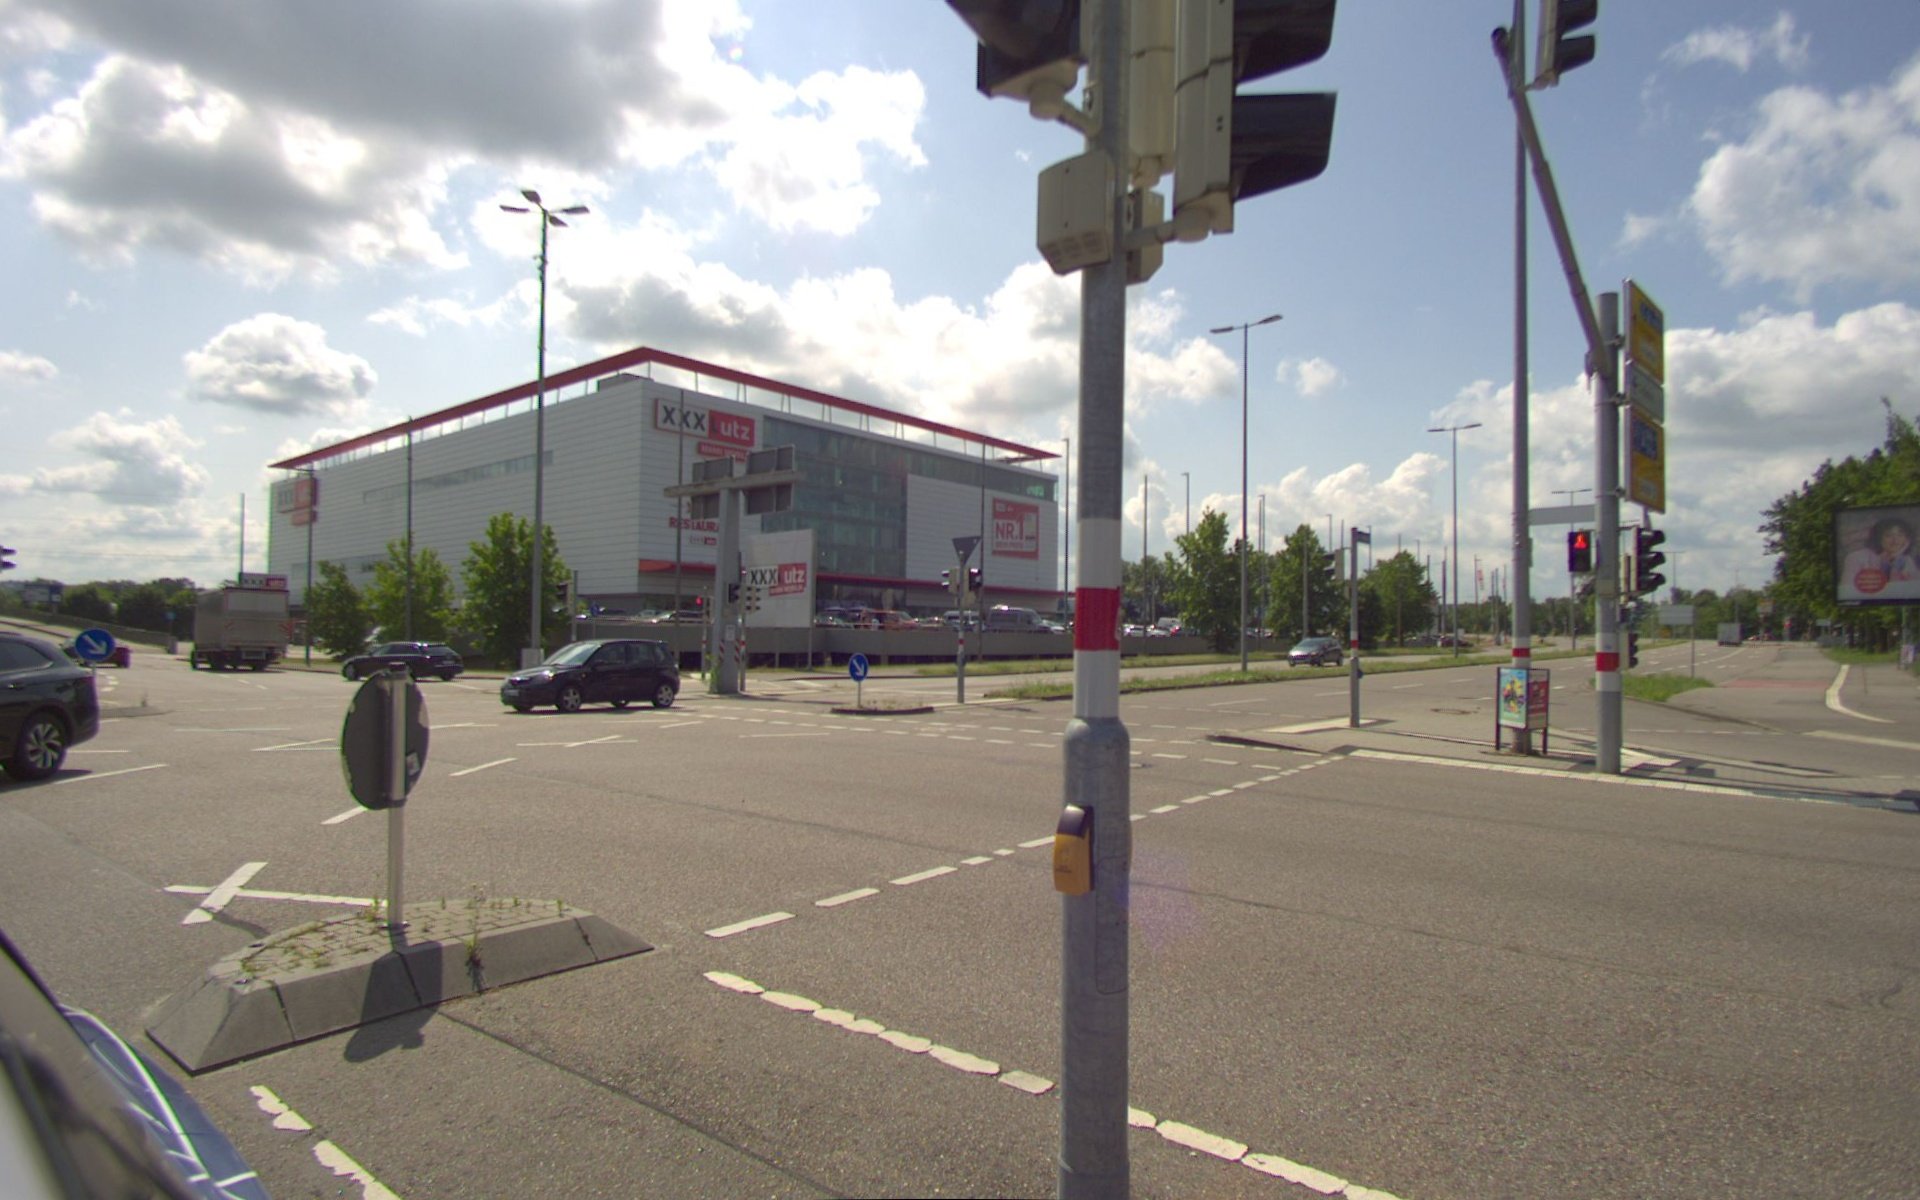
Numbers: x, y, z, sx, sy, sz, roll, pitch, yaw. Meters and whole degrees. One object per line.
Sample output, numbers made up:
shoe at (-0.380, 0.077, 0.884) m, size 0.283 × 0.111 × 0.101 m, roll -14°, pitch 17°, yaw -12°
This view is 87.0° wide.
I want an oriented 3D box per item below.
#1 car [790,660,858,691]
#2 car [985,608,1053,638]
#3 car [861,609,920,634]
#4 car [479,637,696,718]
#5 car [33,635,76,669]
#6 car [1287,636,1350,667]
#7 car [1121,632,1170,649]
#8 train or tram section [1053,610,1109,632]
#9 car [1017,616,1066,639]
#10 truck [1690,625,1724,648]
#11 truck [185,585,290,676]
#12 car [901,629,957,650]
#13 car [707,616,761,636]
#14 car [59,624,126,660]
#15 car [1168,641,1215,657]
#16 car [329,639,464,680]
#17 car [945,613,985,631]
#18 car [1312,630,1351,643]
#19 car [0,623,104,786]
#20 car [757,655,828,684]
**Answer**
car at (-8.440, 4.675, 63.014) m, size 1.998 × 1.763 × 3.948 m, roll -3°, pitch -3°, yaw 39°
car at (4.959, 1.954, 85.408) m, size 5.793 × 2.301 × 1.726 m, roll -3°, pitch -3°, yaw 40°
car at (-5.377, 1.697, 78.338) m, size 4.170 × 1.763 × 1.898 m, roll -3°, pitch -3°, yaw 29°
car at (-7.809, 1.564, 21.588) m, size 1.603 × 1.542 × 4.220 m, roll -2°, pitch -2°, yaw 34°
car at (-54.033, 3.113, 60.454) m, size 1.836 × 1.668 × 4.224 m, roll 2°, pitch -8°, yaw -41°
car at (18.583, 2.627, 52.384) m, size 1.607 × 1.542 × 4.210 m, roll -2°, pitch -3°, yaw 41°
car at (18.329, 4.021, 99.957) m, size 4.422 × 1.618 × 1.928 m, roll -3°, pitch -3°, yaw 42°
train or tram section at (27.756, 4.771, 232.827) m, size 13.097 × 4.596 × 3.682 m, roll -4°, pitch -3°, yaw 41°
car at (7.019, 2.398, 87.478) m, size 4.000 × 1.807 × 1.724 m, roll -4°, pitch -3°, yaw 44°
truck at (92.275, 4.488, 124.998) m, size 2.972 × 2.773 × 5.707 m, roll -3°, pitch -3°, yaw 40°
truck at (-35.645, 1.579, 49.742) m, size 3.173 × 4.058 × 9.080 m, roll 1°, pitch -3°, yaw -42°
car at (-2.562, 3.259, 82.952) m, size 4.422 × 1.618 × 1.928 m, roll -3°, pitch -3°, yaw 42°
car at (-17.924, 2.109, 80.192) m, size 4.419 × 1.482 × 1.929 m, roll -3°, pitch -3°, yaw 40°
car at (-42.747, 2.073, 49.839) m, size 4.215 × 1.668 × 1.840 m, roll -3°, pitch -3°, yaw 40°
car at (24.436, 5.200, 106.850) m, size 4.422 × 1.618 × 1.928 m, roll -3°, pitch -3°, yaw 42°
car at (-20.975, 2.209, 37.673) m, size 4.642 × 1.489 × 1.768 m, roll -1°, pitch -3°, yaw 19°
car at (0.488, 2.319, 107.366) m, size 3.998 × 1.763 × 1.890 m, roll -4°, pitch -3°, yaw 42°
car at (49.256, 4.842, 134.340) m, size 4.422 × 1.618 × 1.928 m, roll -3°, pitch -3°, yaw 42°
car at (-9.512, 0.908, 7.877) m, size 1.786 × 1.489 × 5.211 m, roll 0°, pitch -2°, yaw -7°
car at (-10.803, 4.443, 65.441) m, size 1.998 × 1.763 × 4.306 m, roll -3°, pitch -3°, yaw 39°
